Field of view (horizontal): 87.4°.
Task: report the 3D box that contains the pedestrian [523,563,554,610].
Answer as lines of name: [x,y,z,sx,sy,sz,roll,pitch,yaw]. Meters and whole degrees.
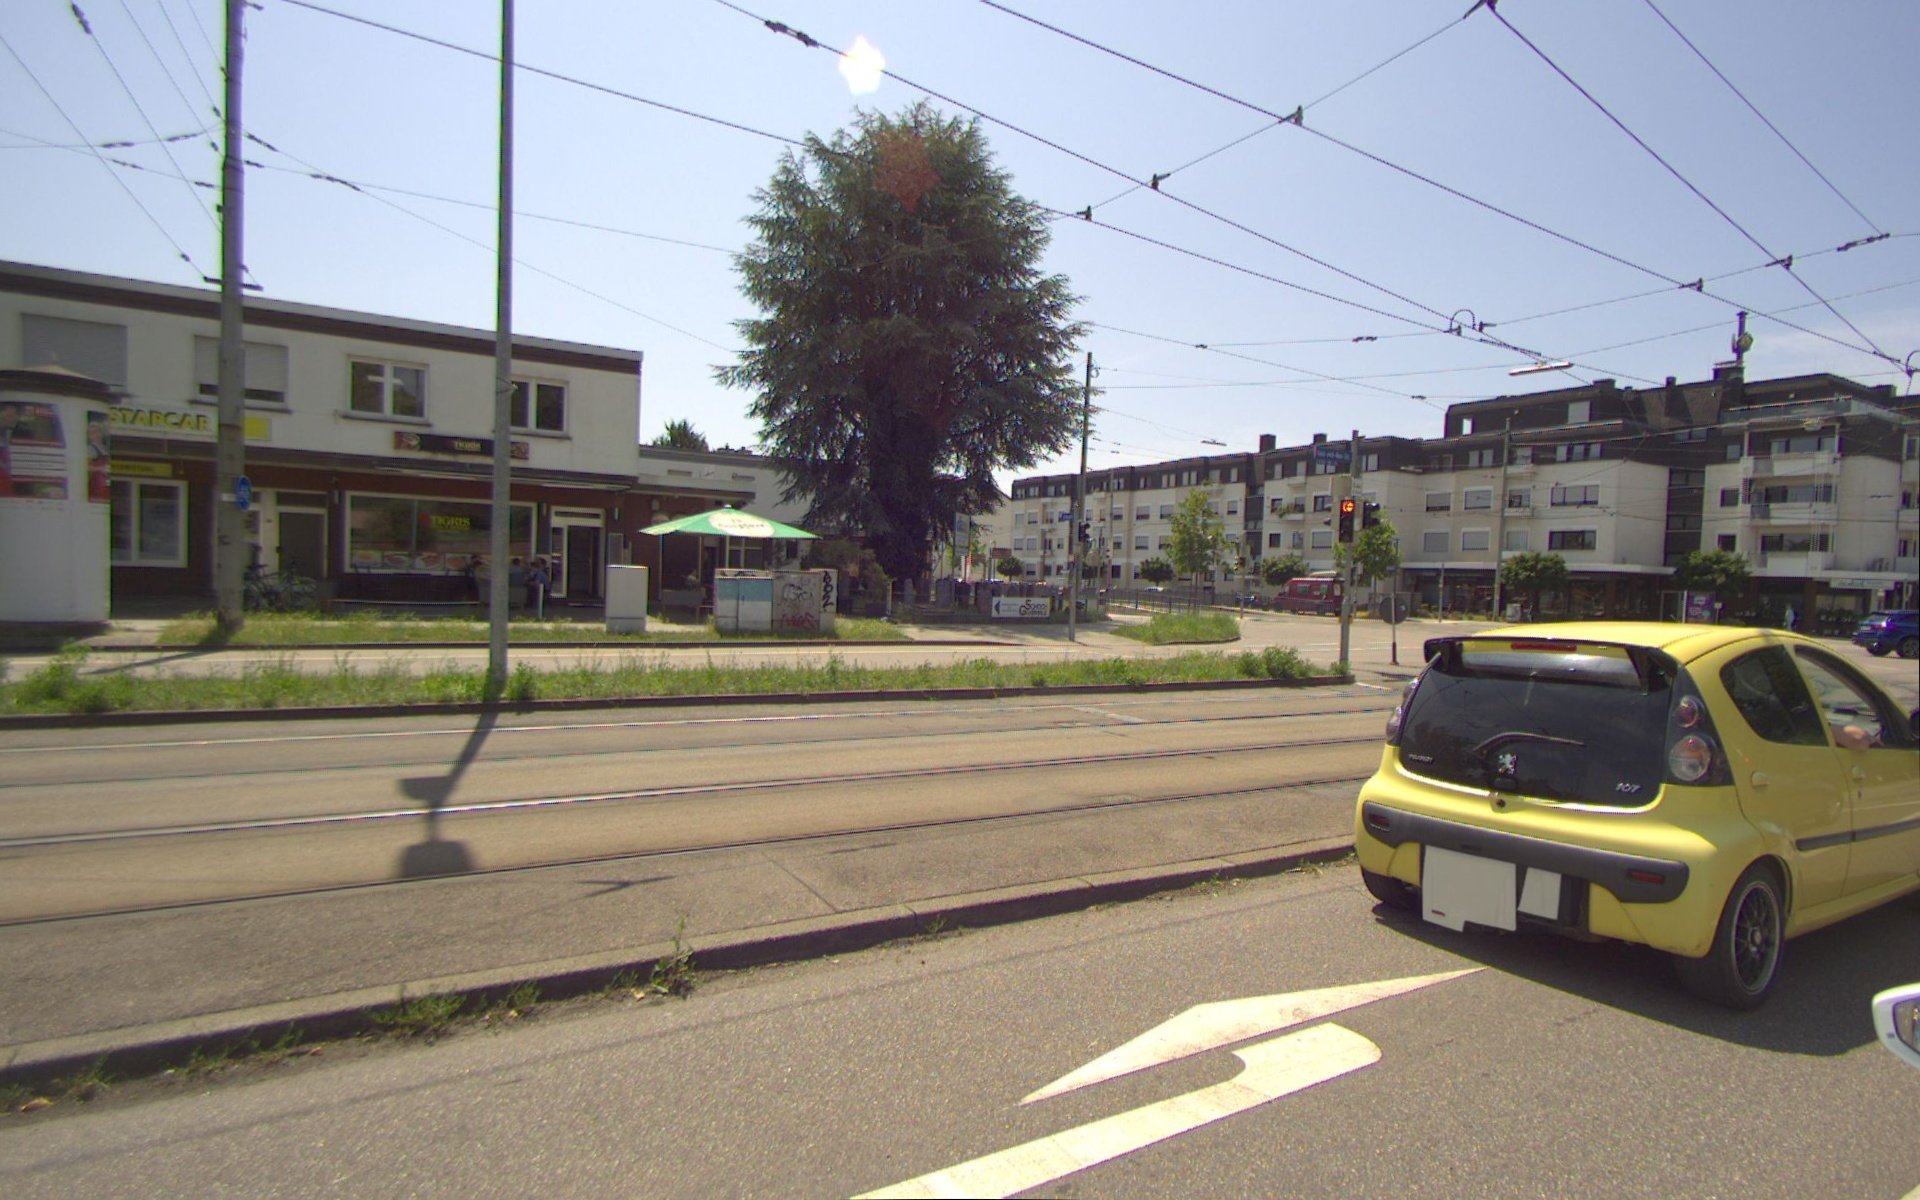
pedestrian: [-11.151,-0.355,26.561,0.666,1.215,0.514,1,2,-30]

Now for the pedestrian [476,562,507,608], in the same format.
pedestrian: [-12.444,-0.396,26.672,0.666,1.179,0.514,1,2,-30]

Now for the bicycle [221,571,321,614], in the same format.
bicycle: [-15.204,-0.167,22.205,1.767,0.859,0.525,2,4,-31]

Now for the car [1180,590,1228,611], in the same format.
car: [18.705,0.011,77.165,1.571,1.452,3.553,1,1,-29]

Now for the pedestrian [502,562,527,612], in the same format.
pedestrian: [-11.402,-0.335,25.712,0.486,1.255,0.572,1,2,-31]

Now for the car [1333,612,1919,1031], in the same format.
car: [3.762,0.825,5.119,3.614,1.440,1.607,2,-1,-31]

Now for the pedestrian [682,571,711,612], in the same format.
pedestrian: [-7.496,-0.237,28.555,0.666,1.142,0.514,1,2,-30]

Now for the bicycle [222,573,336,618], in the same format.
bicycle: [-14.373,-0.098,21.266,1.936,0.859,0.599,2,4,-31]

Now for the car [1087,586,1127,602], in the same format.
car: [12.786,-0.548,87.498,1.571,1.257,3.553,1,1,-29]

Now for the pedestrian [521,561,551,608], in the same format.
pedestrian: [-11.450,-0.419,27.136,0.666,1.225,0.514,1,2,-30]

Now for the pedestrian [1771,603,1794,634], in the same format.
pedestrian: [47.100,1.063,57.525,0.695,1.719,0.799,1,2,-37]

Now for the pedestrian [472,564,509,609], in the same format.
pedestrian: [-12.149,-0.352,25.992,0.801,1.142,0.561,1,2,-30]

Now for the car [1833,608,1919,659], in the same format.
car: [33.381,1.192,34.570,4.539,1.646,2.000,2,1,17]

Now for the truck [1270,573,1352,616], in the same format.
truck: [23.792,-0.394,68.279,2.161,2.734,5.002,1,1,-29]

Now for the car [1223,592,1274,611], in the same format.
car: [21.050,0.075,73.408,1.571,1.235,3.553,1,1,-29]

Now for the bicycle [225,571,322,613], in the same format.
bicycle: [-15.485,-0.177,22.702,1.767,0.859,0.525,2,4,-31]
